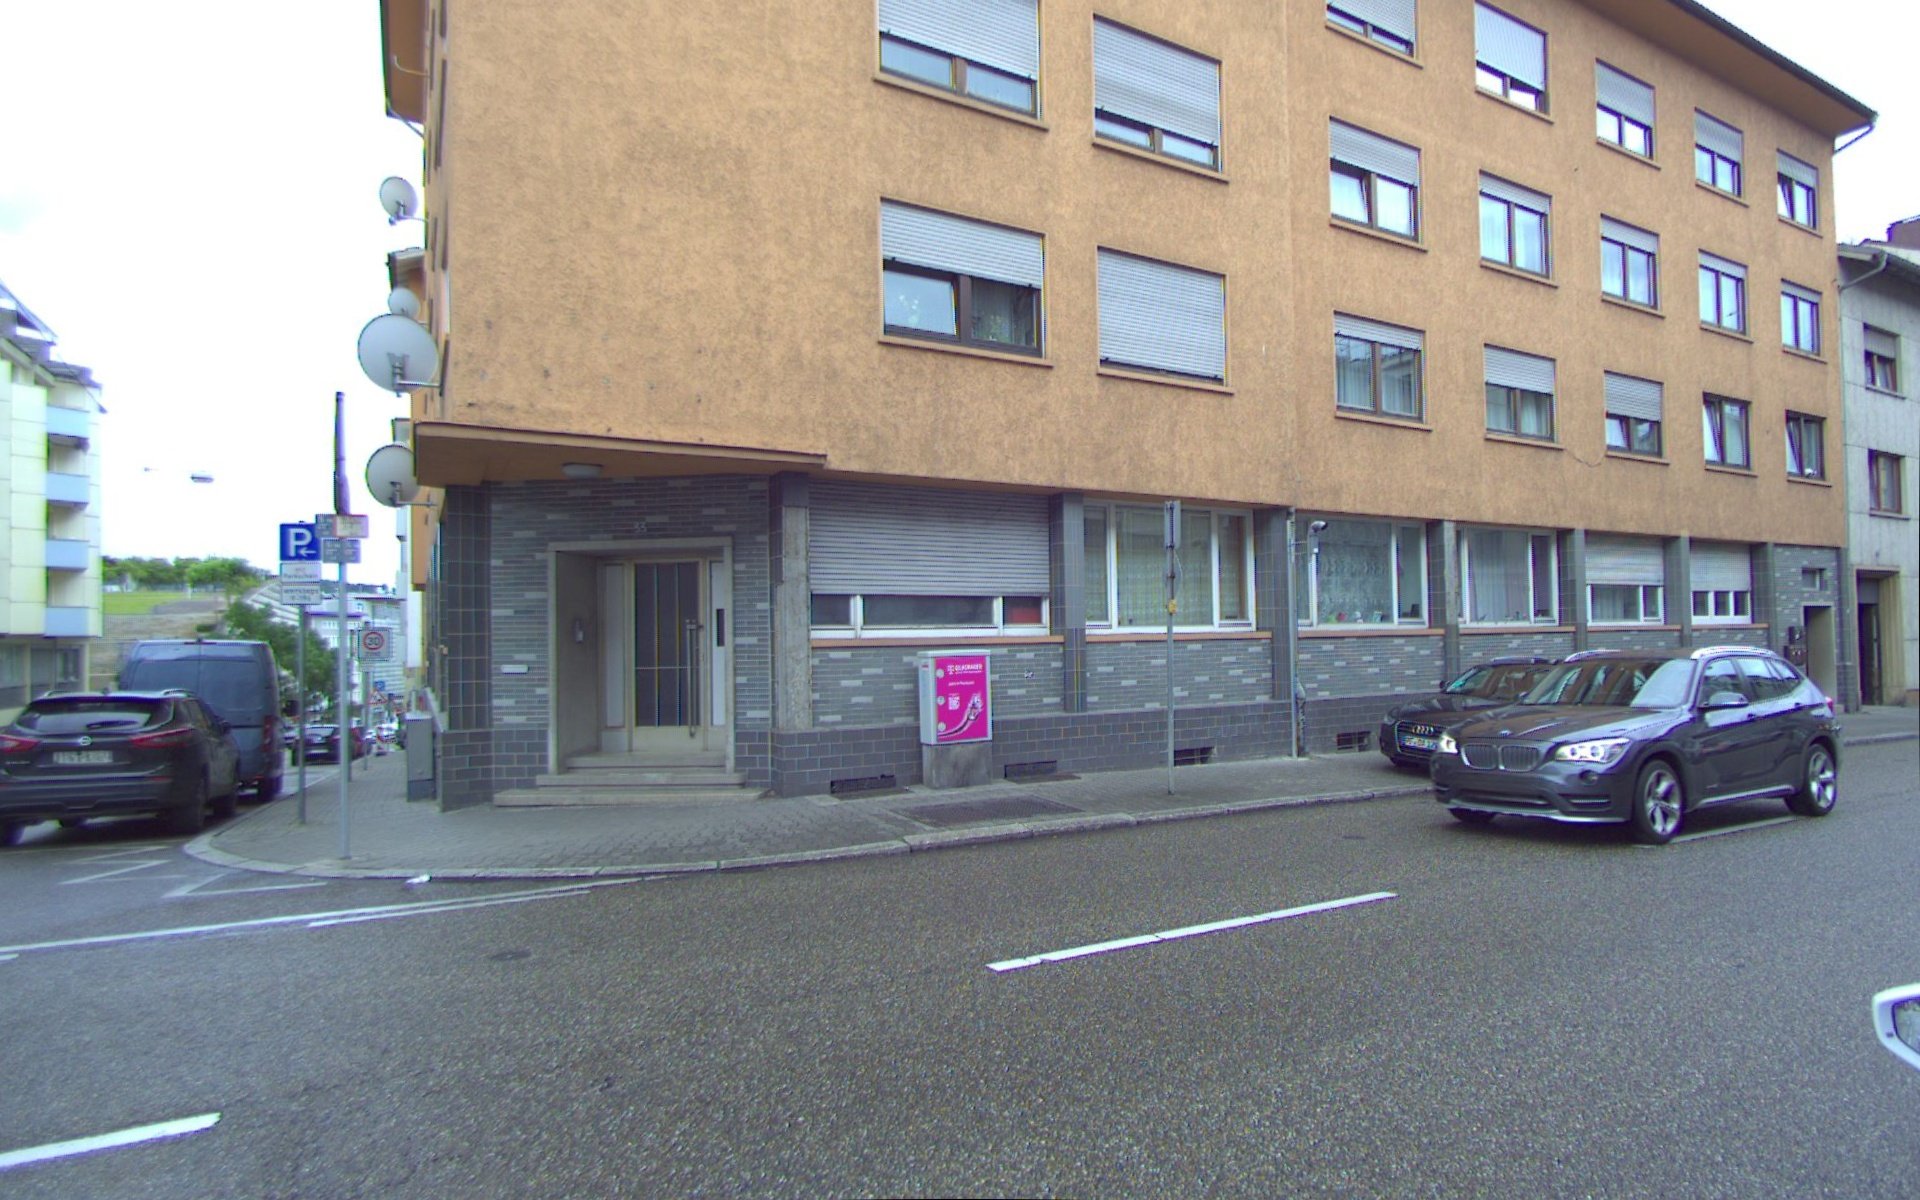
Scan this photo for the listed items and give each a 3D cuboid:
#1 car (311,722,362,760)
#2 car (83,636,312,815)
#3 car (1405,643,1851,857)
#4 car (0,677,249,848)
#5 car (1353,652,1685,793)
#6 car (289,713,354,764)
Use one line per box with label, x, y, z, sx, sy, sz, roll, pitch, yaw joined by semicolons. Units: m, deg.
car;-27.656;6.236;44.613;1.702;1.513;4.026;1;-7;-29
car;-12.721;2.102;17.255;2.223;2.492;6.017;1;-7;-29
car;6.077;1.187;9.050;4.111;1.526;1.695;1;-5;-31
car;-9.682;1.833;11.690;1.820;1.596;4.127;1;-8;-29
car;7.376;1.466;13.138;4.475;1.457;1.786;1;0;-31
car;-23.974;5.207;37.832;1.796;1.696;4.026;1;-7;-29
